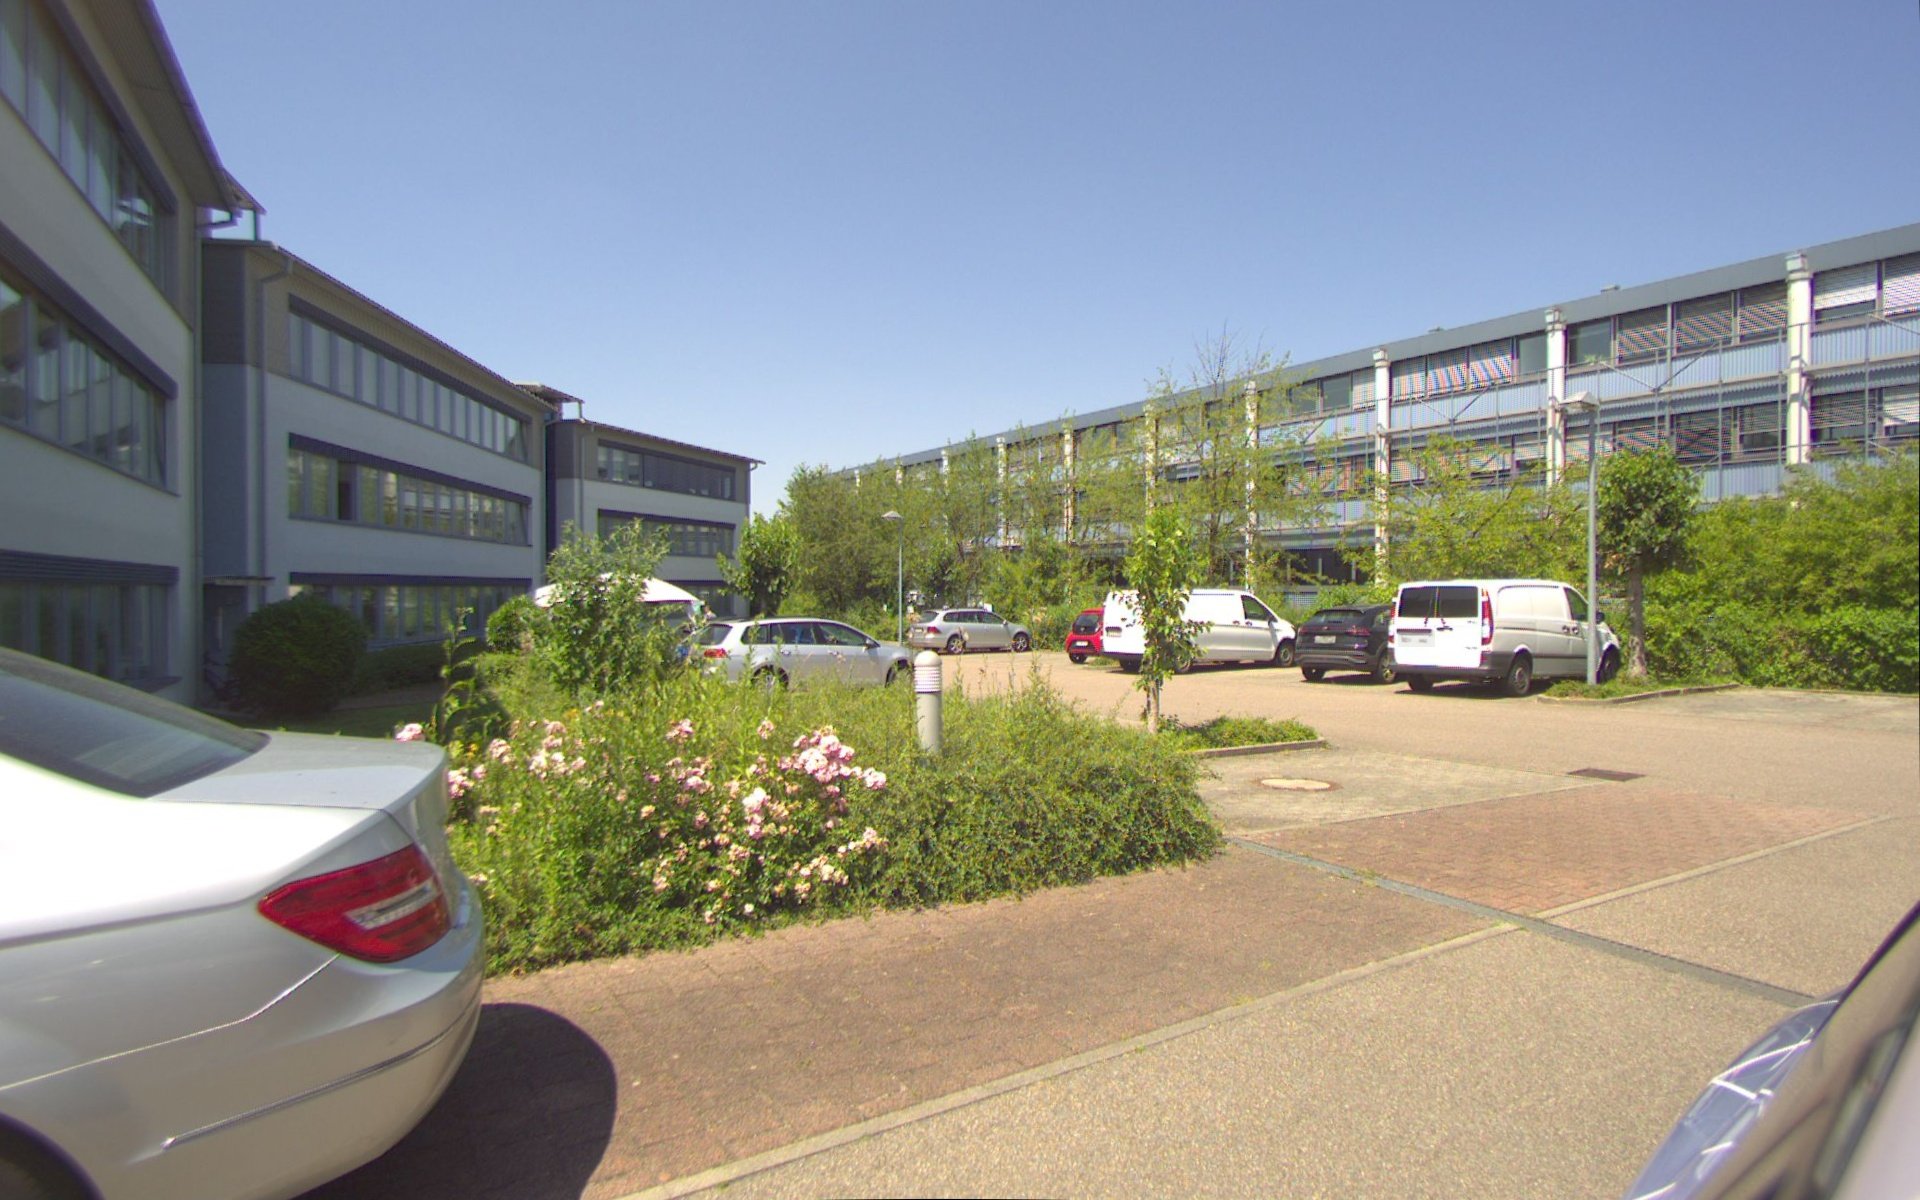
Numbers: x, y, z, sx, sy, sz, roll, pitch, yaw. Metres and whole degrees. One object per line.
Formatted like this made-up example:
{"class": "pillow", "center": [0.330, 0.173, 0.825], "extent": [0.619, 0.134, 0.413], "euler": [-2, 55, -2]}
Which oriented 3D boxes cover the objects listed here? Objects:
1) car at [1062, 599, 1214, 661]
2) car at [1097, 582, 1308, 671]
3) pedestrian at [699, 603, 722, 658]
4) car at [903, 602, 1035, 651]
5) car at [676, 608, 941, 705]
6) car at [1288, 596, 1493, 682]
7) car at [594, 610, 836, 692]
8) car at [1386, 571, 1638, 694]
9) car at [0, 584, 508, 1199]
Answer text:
{"class": "car", "center": [4.753, 0.762, 26.951], "extent": [3.843, 1.507, 1.626], "euler": [-1, -1, -31]}
{"class": "car", "center": [5.711, 0.563, 23.641], "extent": [4.837, 1.879, 1.858], "euler": [-1, -1, -31]}
{"class": "pedestrian", "center": [-8.254, 1.007, 33.523], "extent": [0.684, 1.779, 0.778], "euler": [-2, 0, -13]}
{"class": "car", "center": [0.319, 0.839, 33.328], "extent": [4.003, 1.503, 1.741], "euler": [-1, -1, -30]}
{"class": "car", "center": [-2.670, 0.918, 18.173], "extent": [4.341, 1.539, 1.857], "euler": [0, -1, -33]}
{"class": "car", "center": [8.591, 0.707, 20.101], "extent": [4.116, 1.503, 1.740], "euler": [-1, -1, -33]}
{"class": "car", "center": [-5.002, 0.976, 20.900], "extent": [4.523, 1.513, 1.857], "euler": [0, -1, -33]}
{"class": "car", "center": [9.615, 0.480, 17.516], "extent": [4.586, 1.884, 1.869], "euler": [-1, -1, -33]}
{"class": "car", "center": [-3.243, 0.695, 1.779], "extent": [4.331, 1.416, 1.807], "euler": [-1, 0, -29]}
